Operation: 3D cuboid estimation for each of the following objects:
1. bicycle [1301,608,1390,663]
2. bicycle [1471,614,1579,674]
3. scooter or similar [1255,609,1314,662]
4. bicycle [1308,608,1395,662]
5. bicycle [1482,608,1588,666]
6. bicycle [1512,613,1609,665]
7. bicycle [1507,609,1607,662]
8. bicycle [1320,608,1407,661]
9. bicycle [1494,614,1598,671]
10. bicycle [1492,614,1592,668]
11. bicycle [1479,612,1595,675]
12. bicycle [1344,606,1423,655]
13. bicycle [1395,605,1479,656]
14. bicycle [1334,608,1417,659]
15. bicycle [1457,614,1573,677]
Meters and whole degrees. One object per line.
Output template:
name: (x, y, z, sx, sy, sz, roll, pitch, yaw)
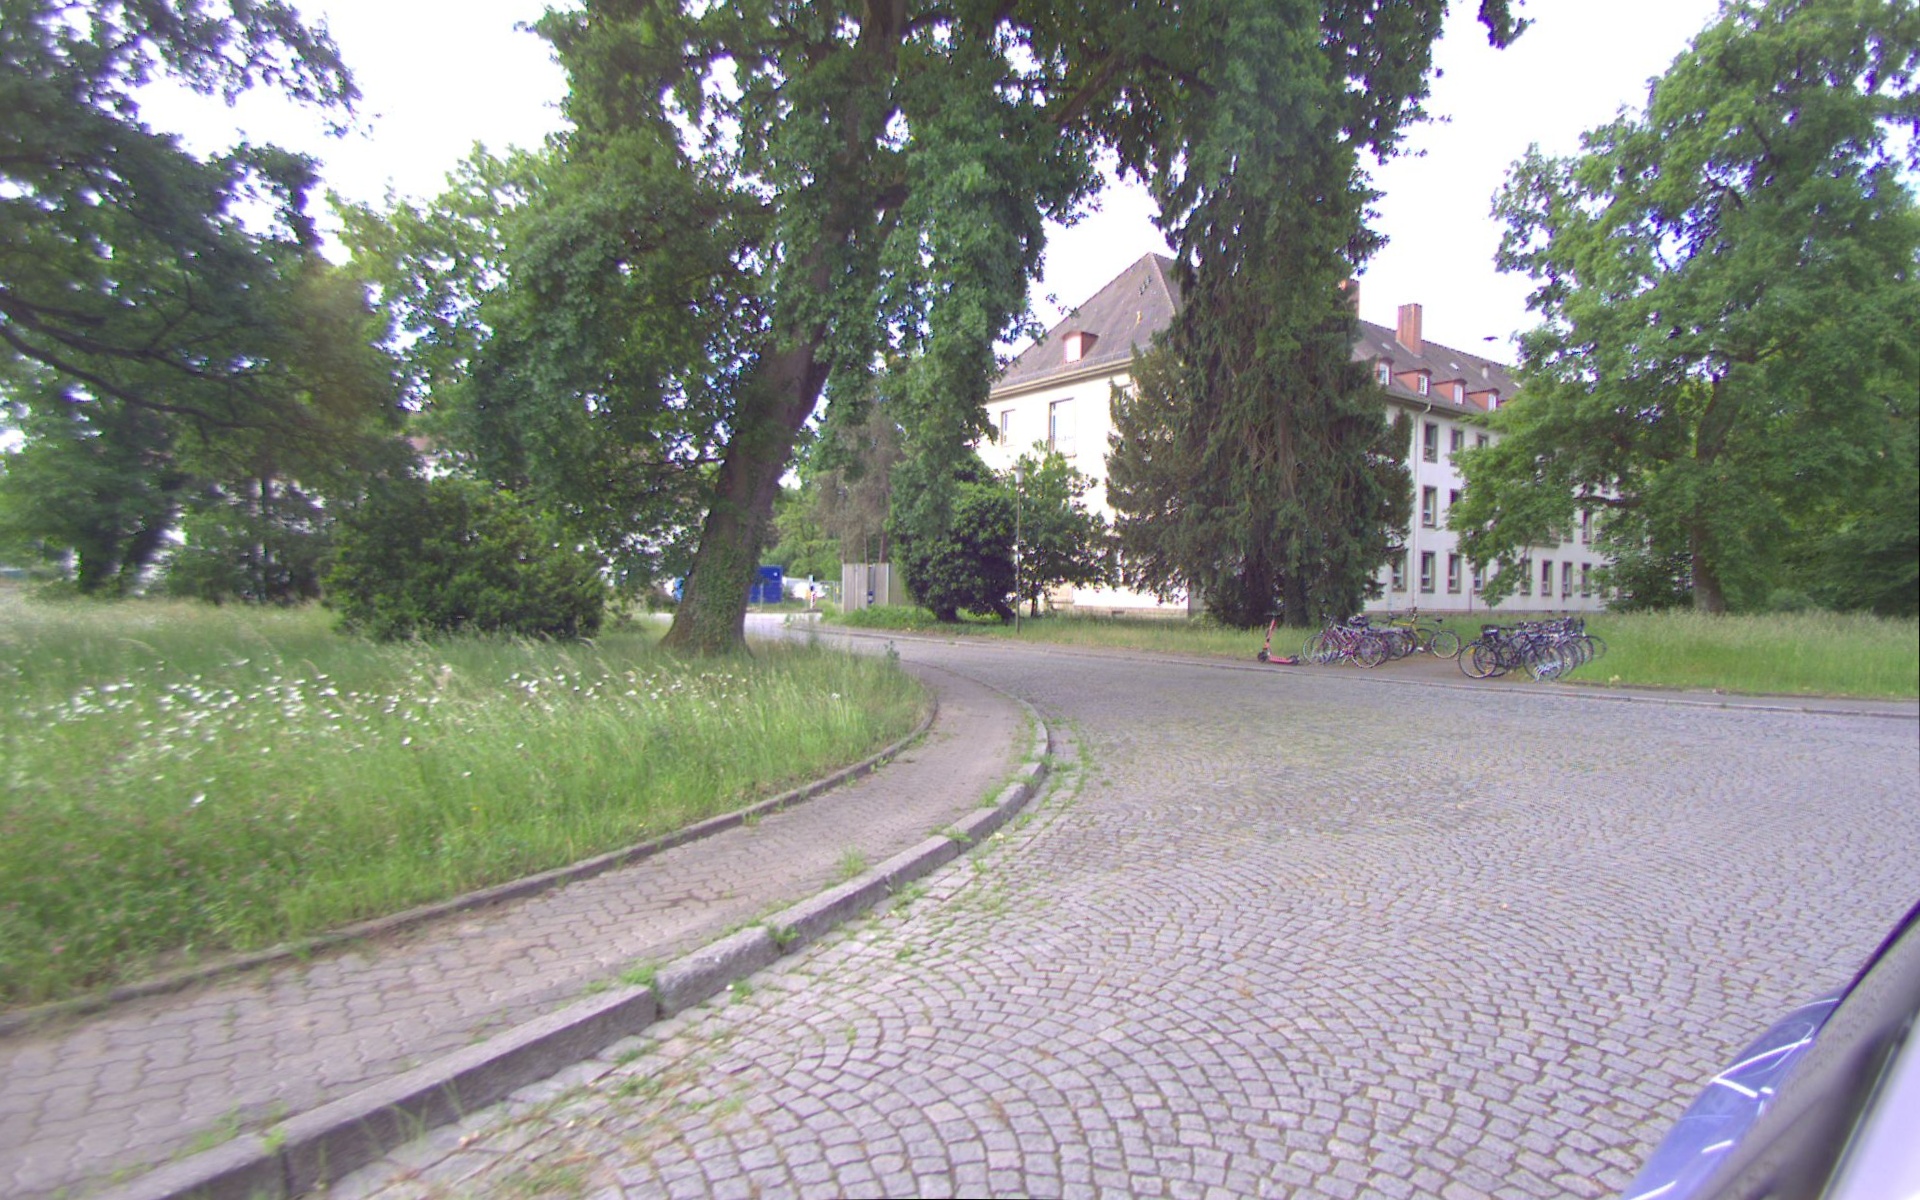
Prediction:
bicycle: (8.734, 0.793, 22.947, 1.842, 1.185, 0.483, 1, 0, 29)
bicycle: (11.669, 0.893, 20.963, 1.922, 1.185, 0.483, -1, -1, 29)
scooter or similar: (7.481, 0.812, 23.373, 0.406, 1.185, 1.308, 1, -1, -37)
bicycle: (9.062, 0.791, 23.444, 1.842, 1.185, 0.483, 1, 0, 29)
bicycle: (12.114, 0.773, 21.376, 1.922, 1.185, 0.483, -1, -1, 29)
bicycle: (14.316, 0.908, 24.167, 1.929, 1.185, 0.530, -1, -1, 38)
bicycle: (13.601, 0.796, 23.083, 1.925, 1.185, 0.482, -1, -1, 32)
bicycle: (9.547, 0.793, 23.966, 1.846, 1.185, 0.482, 1, 0, 33)
bicycle: (12.670, 0.897, 21.911, 1.925, 1.185, 0.482, -1, -1, 32)
bicycle: (13.079, 0.902, 22.777, 1.925, 1.185, 0.482, -1, -1, 32)
bicycle: (11.316, 0.843, 19.913, 1.920, 1.185, 0.483, -1, -1, 27)
bicycle: (10.814, 0.763, 25.831, 1.840, 1.185, 0.484, 1, 0, 26)
bicycle: (12.159, 0.761, 25.862, 1.854, 1.184, 0.480, 3, 2, 45)
bicycle: (10.065, 0.796, 24.534, 1.840, 1.185, 0.484, 1, 0, 26)
bicycle: (10.718, 0.861, 19.605, 1.920, 1.185, 0.483, -1, -1, 27)
